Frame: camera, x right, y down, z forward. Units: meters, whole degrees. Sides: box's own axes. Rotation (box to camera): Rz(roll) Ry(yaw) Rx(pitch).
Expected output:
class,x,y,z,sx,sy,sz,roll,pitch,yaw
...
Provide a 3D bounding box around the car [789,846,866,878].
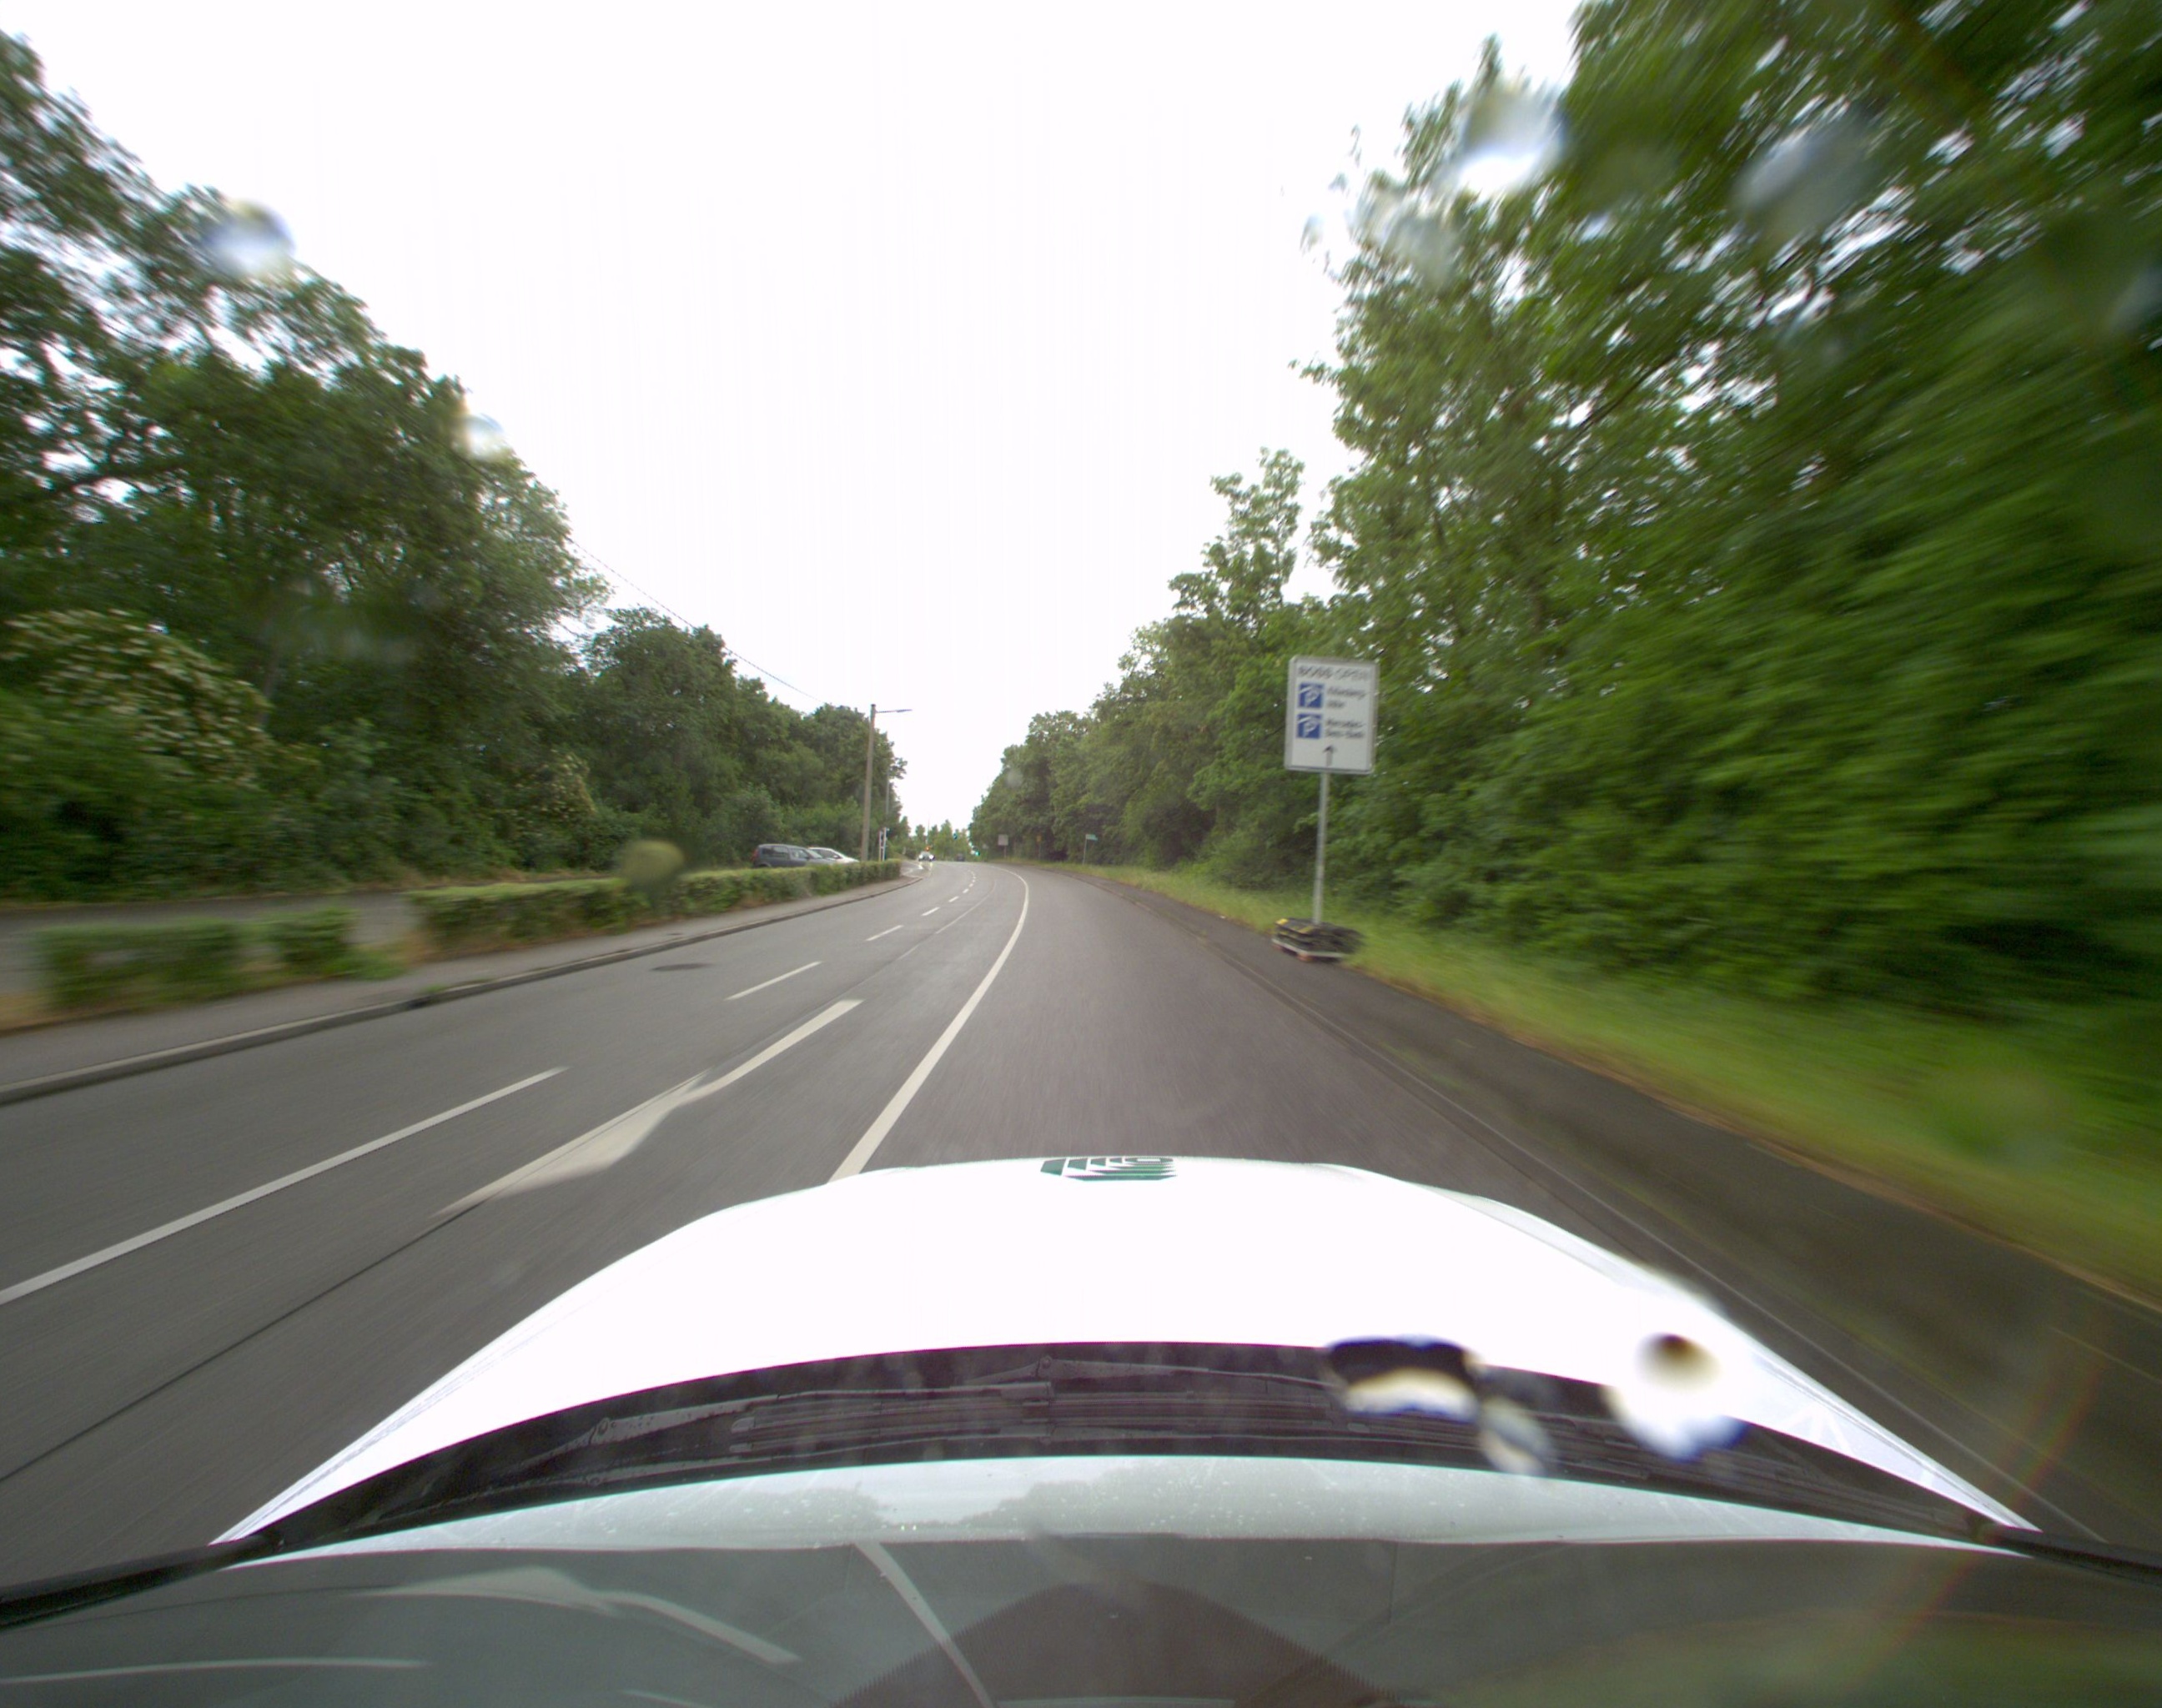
class,x,y,z,sx,sy,sz,roll,pitch,yaw
car,-13.561,0.430,43.770,3.642,1.591,1.847,1,0,-8

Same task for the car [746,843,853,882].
class,x,y,z,sx,sy,sz,roll,pitch,yaw
car,-13.121,0.376,38.139,4.278,1.708,1.999,1,0,-1

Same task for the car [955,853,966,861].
class,x,y,z,sx,sy,sz,roll,pitch,yaw
car,-24.822,0.633,167.829,1.931,1.498,4.312,0,0,-4

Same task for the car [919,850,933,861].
class,x,y,z,sx,sy,sz,roll,pitch,yaw
car,-22.327,0.210,117.233,1.936,1.498,4.302,0,0,-11
